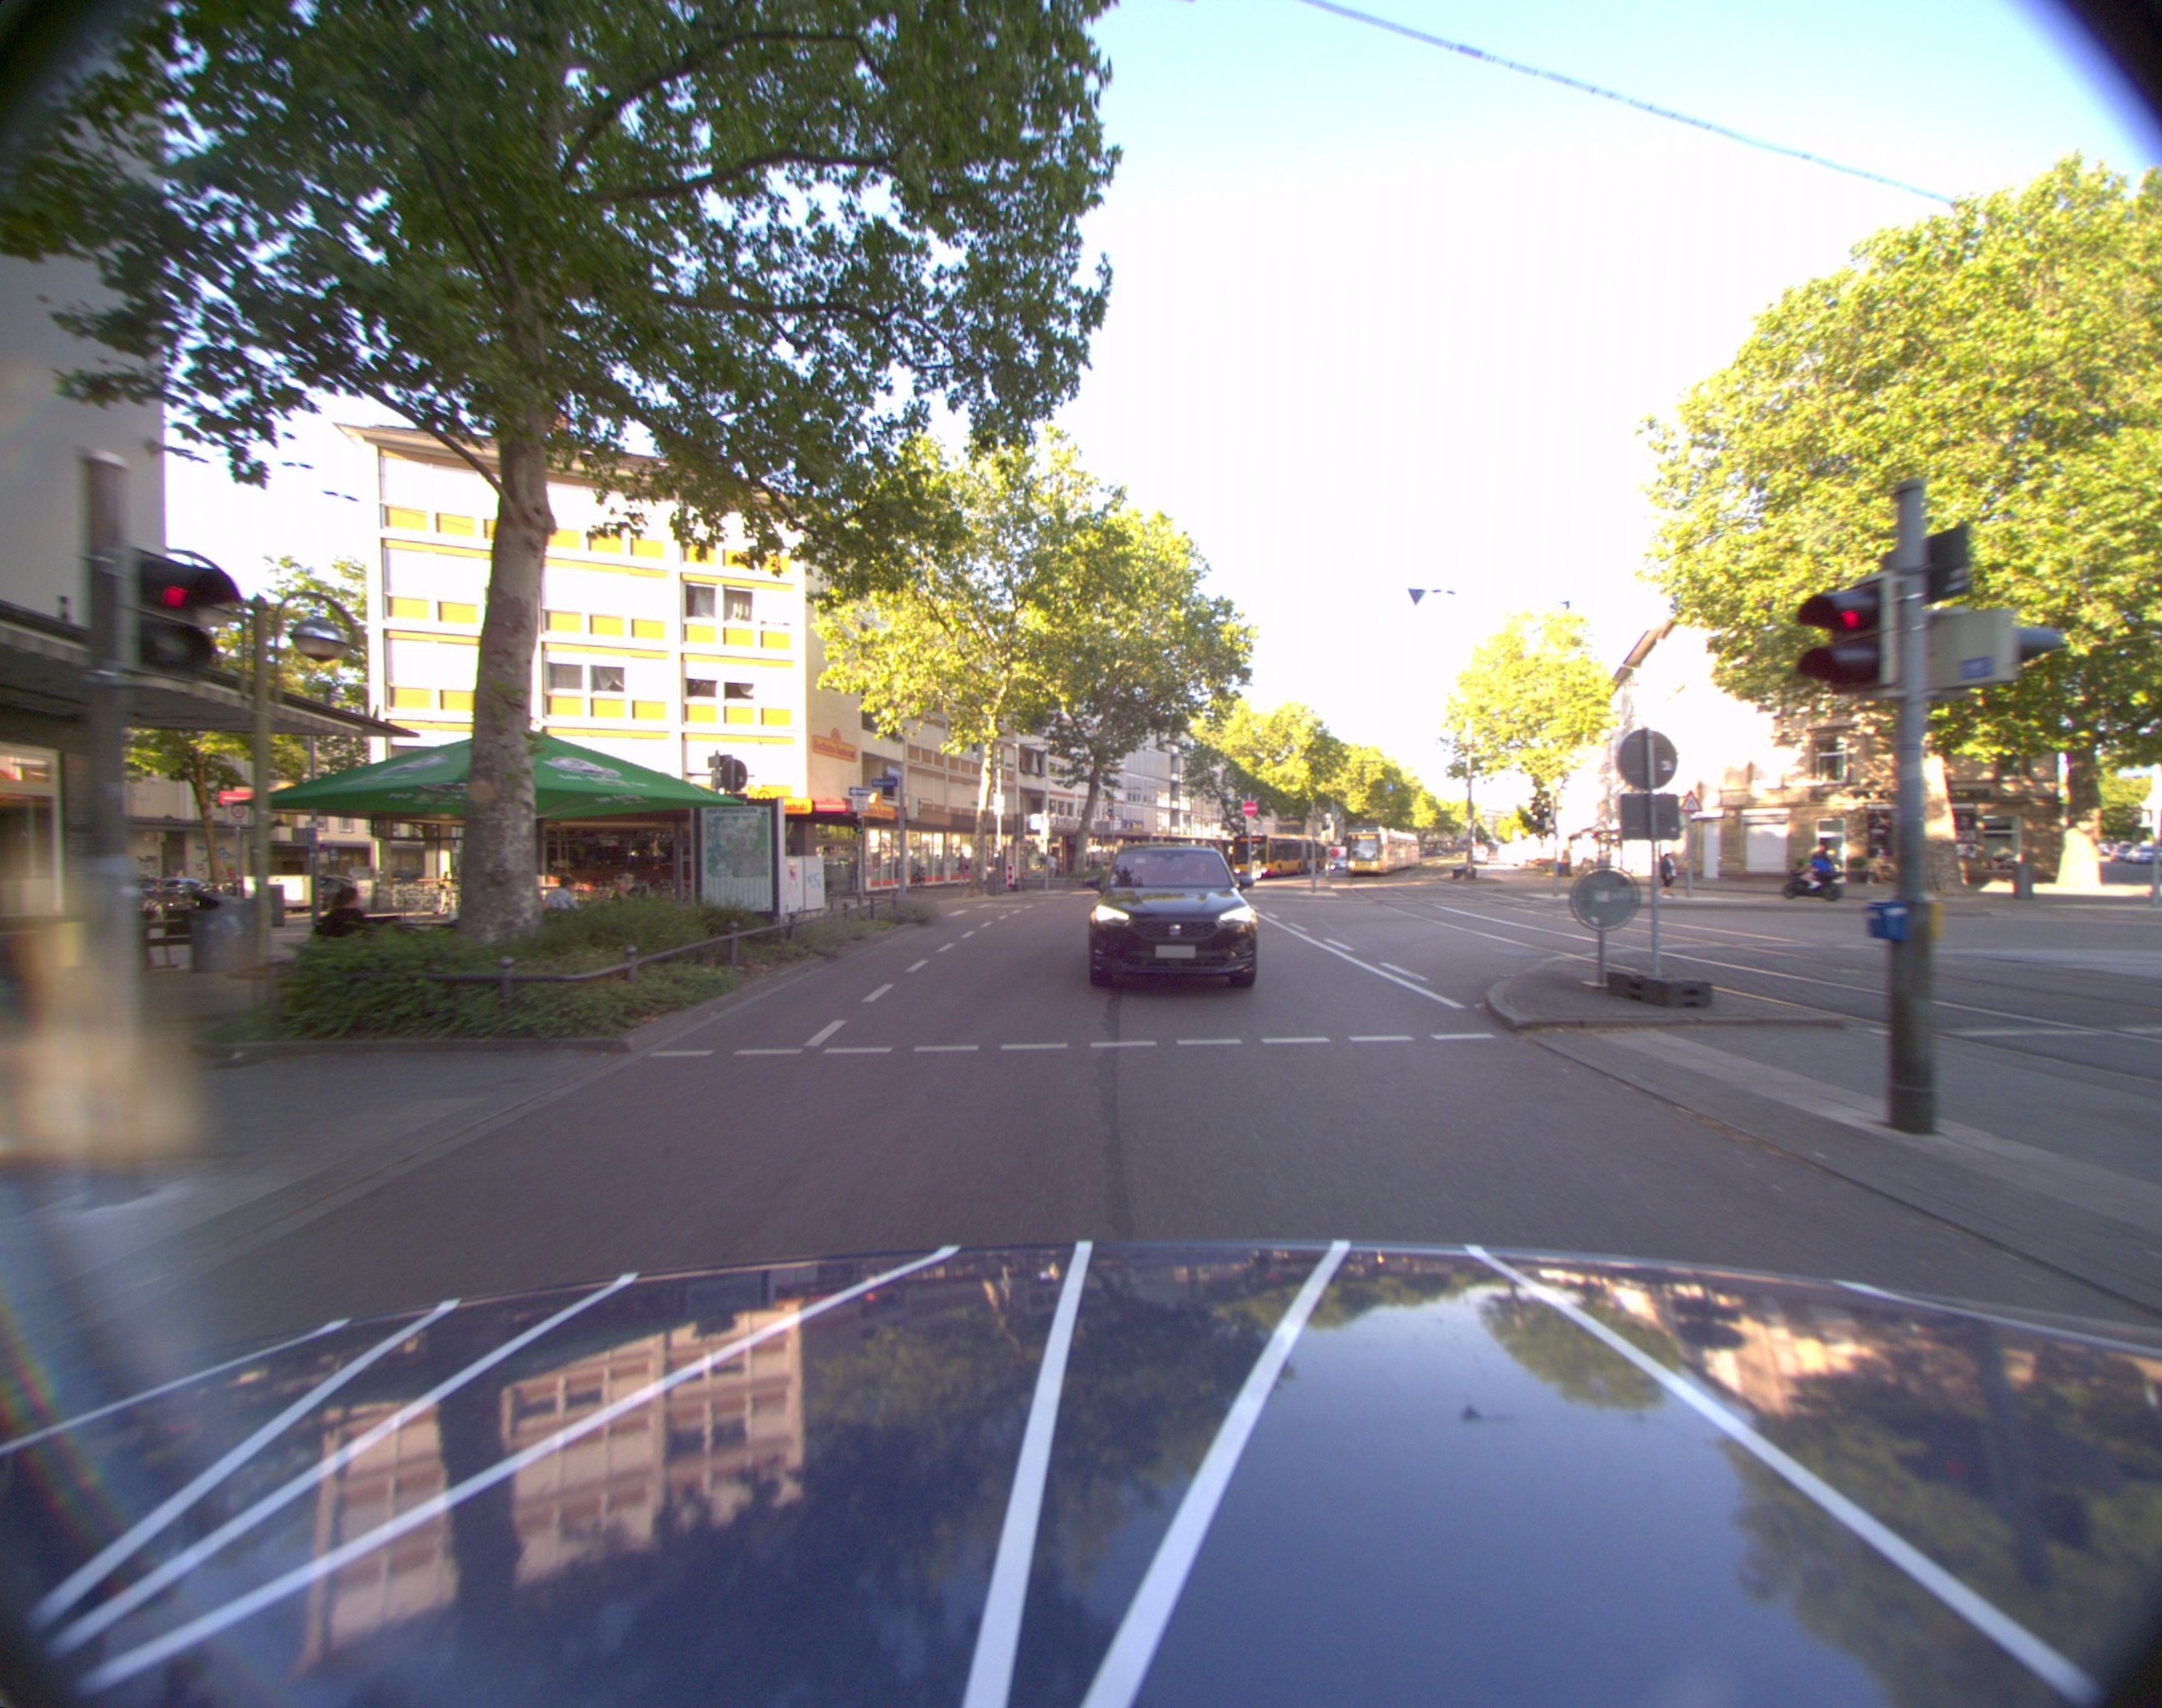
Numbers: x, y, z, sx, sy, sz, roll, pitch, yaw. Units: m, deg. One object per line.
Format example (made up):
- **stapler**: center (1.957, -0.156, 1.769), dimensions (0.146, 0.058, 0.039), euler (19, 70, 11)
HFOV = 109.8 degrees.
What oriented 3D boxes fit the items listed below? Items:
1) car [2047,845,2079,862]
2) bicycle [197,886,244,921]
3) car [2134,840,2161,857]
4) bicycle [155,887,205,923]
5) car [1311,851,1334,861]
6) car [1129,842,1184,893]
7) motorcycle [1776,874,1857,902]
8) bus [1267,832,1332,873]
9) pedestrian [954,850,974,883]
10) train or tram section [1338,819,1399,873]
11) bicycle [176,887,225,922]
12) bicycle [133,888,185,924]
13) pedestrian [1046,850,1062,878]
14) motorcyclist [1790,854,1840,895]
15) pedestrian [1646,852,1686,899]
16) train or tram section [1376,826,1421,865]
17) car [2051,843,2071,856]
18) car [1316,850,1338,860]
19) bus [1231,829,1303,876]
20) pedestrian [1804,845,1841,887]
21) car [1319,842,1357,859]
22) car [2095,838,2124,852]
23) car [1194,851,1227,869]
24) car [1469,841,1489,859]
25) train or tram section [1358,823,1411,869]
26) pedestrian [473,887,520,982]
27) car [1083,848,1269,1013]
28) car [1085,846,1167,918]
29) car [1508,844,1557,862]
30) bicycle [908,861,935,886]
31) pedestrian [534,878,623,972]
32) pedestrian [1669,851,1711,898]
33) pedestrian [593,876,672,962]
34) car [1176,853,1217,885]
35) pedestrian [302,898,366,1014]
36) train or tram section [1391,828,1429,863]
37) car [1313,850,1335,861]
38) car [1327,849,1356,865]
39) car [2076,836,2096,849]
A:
- **car**: center (88.919, -0.061, 68.819), dimensions (4.008, 1.485, 1.723), euler (-1, 1, -37)
- **bicycle**: center (-26.906, 1.535, 23.770), dimensions (0.389, 0.995, 1.426), euler (-1, 1, -24)
- **car**: center (96.349, -0.472, 68.403), dimensions (4.008, 1.485, 1.723), euler (-1, 1, -37)
- **bicycle**: center (-27.716, 1.553, 23.389), dimensions (0.389, 0.995, 1.426), euler (-1, 1, -24)
- **car**: center (31.068, 0.283, 97.852), dimensions (2.627, 1.273, 1.201), euler (-1, 1, 1)
- **car**: center (2.681, 0.424, 26.928), dimensions (1.743, 1.630, 4.301), euler (-2, 0, 6)
- **motorcycle**: center (24.064, 1.092, 24.927), dimensions (0.682, 0.804, 1.994), euler (-1, 1, -2)
- **bus**: center (18.087, -0.166, 62.382), dimensions (2.747, 3.085, 9.515), euler (0, 0, 31)
- **pedestrian**: center (-6.172, 0.663, 40.100), dimensions (0.748, 1.747, 0.903), euler (0, 1, 16)
- **train or tram section**: center (20.519, -0.544, 53.814), dimensions (2.818, 3.467, 10.357), euler (-1, 0, 27)
- **bicycle**: center (-27.314, 1.544, 23.590), dimensions (0.389, 0.995, 1.426), euler (-1, 1, -24)
- **bicycle**: center (-28.130, 1.561, 23.210), dimensions (0.389, 0.995, 1.426), euler (-1, 1, -24)
- **pedestrian**: center (-1.679, 0.598, 47.460), dimensions (0.748, 1.747, 0.903), euler (0, 1, 16)
- **motorcyclist**: center (24.051, 0.666, 24.914), dimensions (0.682, 1.308, 0.984), euler (-1, 1, -2)
- **pedestrian**: center (19.082, 0.682, 24.785), dimensions (0.799, 1.500, 0.800), euler (-1, 1, -30)
- **train or tram section**: center (30.276, -0.774, 72.113), dimensions (2.872, 3.467, 10.357), euler (-1, 0, 29)
- **car**: center (152.086, -0.761, 117.925), dimensions (4.008, 2.004, 1.846), euler (-1, 1, -37)
- **car**: center (33.650, 0.111, 104.108), dimensions (2.627, 1.338, 1.201), euler (-1, 1, 1)
- **bus**: center (13.419, -0.111, 54.168), dimensions (2.748, 3.085, 9.514), euler (0, 0, 28)
- **pedestrian**: center (31.447, 0.488, 32.225), dimensions (0.797, 1.745, 0.802), euler (-1, 1, -1)
- **car**: center (37.289, -0.552, 110.222), dimensions (4.868, 2.362, 1.878), euler (-1, 1, -12)
- **car**: center (106.721, -0.927, 78.857), dimensions (4.008, 1.485, 1.723), euler (-1, 1, -37)
- **car**: center (10.691, 0.481, 62.425), dimensions (1.649, 1.463, 3.715), euler (-1, 0, 27)
- **car**: center (49.176, -0.458, 93.846), dimensions (2.162, 2.110, 4.987), euler (1, 1, 28)
- **train or tram section**: center (25.314, -0.651, 63.046), dimensions (2.837, 3.467, 10.357), euler (-1, 0, 29)
- **pedestrian**: center (-7.843, 1.068, 10.212), dimensions (0.433, 1.212, 0.467), euler (1, 1, -31)
- **car**: center (1.038, 0.761, 9.744), dimensions (1.848, 1.648, 4.299), euler (0, 0, 2)
- **car**: center (1.297, 0.643, 19.971), dimensions (1.847, 1.648, 4.654), euler (-2, 0, 7)
- **car**: center (50.089, -0.114, 84.276), dimensions (4.652, 1.965, 1.901), euler (-1, 0, -13)
- **bicycle**: center (-7.912, 0.956, 37.769), dimensions (0.528, 1.136, 1.976), euler (0, 0, 14)
- **pedestrian**: center (-7.263, 1.002, 11.007), dimensions (0.718, 1.278, 0.769), euler (0, 1, 12)
- **pedestrian**: center (19.978, 0.663, 24.941), dimensions (0.798, 1.500, 0.800), euler (-1, 1, -24)
- **pedestrian**: center (-7.023, 1.004, 11.938), dimensions (0.718, 1.278, 0.769), euler (0, 1, 11)
- **car**: center (5.678, 0.703, 37.132), dimensions (1.650, 1.463, 3.712), euler (-1, 0, 13)
- **pedestrian**: center (-8.303, 1.111, 8.446), dimensions (0.431, 1.212, 0.469), euler (-1, 0, 45)
- **train or tram section**: center (35.243, -0.875, 81.227), dimensions (2.837, 3.467, 10.357), euler (-1, 0, 28)
- **car**: center (32.379, 0.230, 101.179), dimensions (2.627, 1.380, 1.201), euler (-1, 1, 1)
- **car**: center (26.422, 0.260, 76.933), dimensions (1.907, 1.467, 4.426), euler (0, 1, 31)
- **car**: center (157.281, -1.780, 118.887), dimensions (4.008, 2.004, 1.846), euler (-1, 1, -37)
